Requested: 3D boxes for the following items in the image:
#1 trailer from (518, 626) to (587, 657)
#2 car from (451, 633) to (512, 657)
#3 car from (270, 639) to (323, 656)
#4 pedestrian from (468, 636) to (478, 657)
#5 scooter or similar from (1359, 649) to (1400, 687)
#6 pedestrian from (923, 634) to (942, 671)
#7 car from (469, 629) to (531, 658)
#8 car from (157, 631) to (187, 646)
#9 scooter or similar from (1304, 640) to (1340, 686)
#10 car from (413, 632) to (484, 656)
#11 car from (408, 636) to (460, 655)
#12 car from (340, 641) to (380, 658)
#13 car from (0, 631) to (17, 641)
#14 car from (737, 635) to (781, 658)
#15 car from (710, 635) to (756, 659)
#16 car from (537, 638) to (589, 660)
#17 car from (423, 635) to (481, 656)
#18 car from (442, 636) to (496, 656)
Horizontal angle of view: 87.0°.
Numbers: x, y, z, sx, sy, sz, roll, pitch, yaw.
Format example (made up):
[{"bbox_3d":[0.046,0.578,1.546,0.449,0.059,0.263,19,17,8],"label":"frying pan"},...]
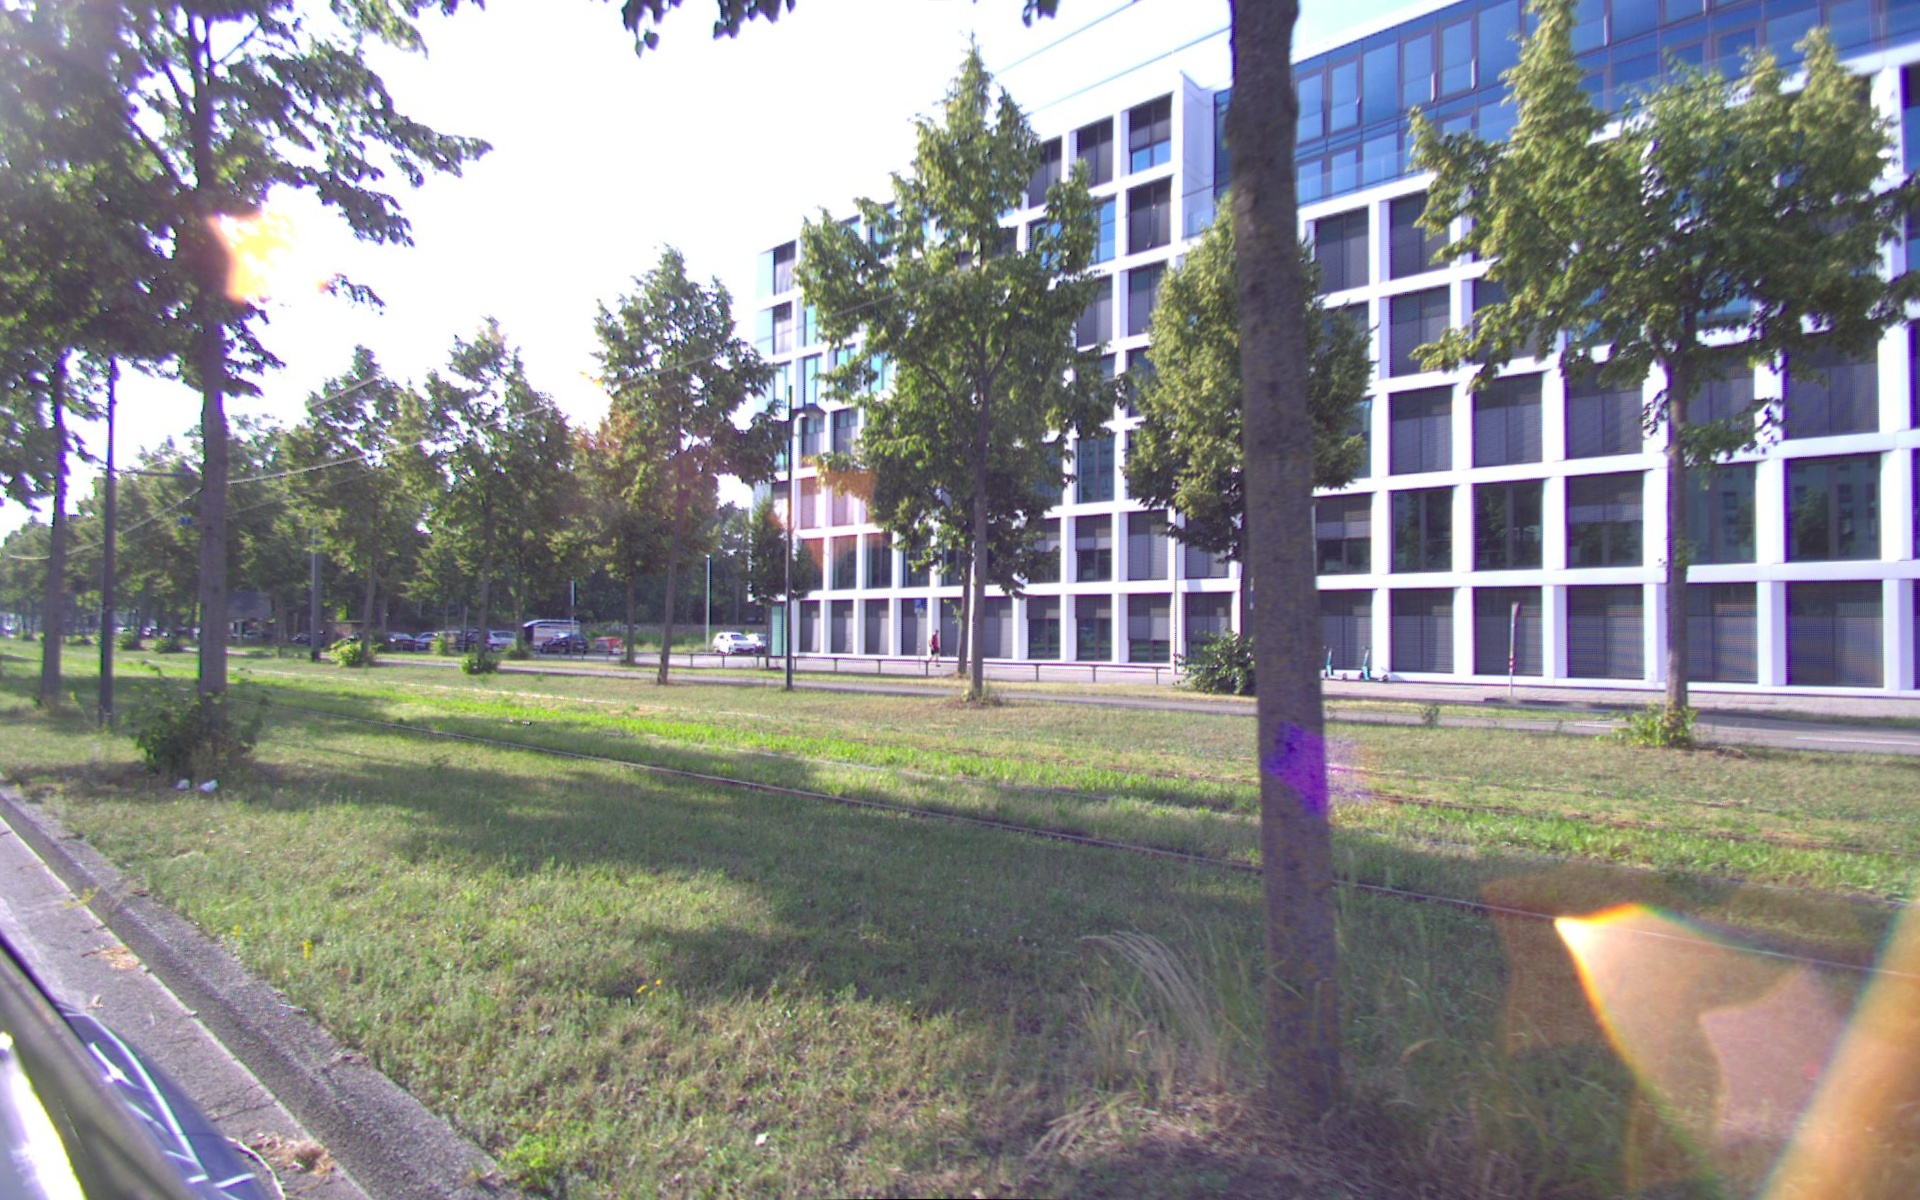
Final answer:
[{"bbox_3d":[-29.681,2.980,73.773,1.758,2.069,4.315,-1,0,44],"label":"trailer"},{"bbox_3d":[-37.125,3.469,78.547,1.757,1.655,3.950,-1,0,42],"label":"car"},{"bbox_3d":[-59.133,4.262,90.191,3.995,1.446,1.680,-1,0,13],"label":"car"},{"bbox_3d":[-36.367,3.460,75.563,0.568,1.491,0.516,-1,0,40],"label":"pedestrian"},{"bbox_3d":[14.317,2.302,34.579,0.331,1.235,1.302,-1,0,-35],"label":"scooter or similar"},{"bbox_3d":[-1.296,2.496,48.131,0.691,1.741,0.561,-1,0,41],"label":"pedestrian"},{"bbox_3d":[-34.792,3.267,76.619,1.757,1.962,3.950,-1,0,42],"label":"car"},{"bbox_3d":[-86.687,4.229,111.311,4.474,1.442,1.811,-1,0,42],"label":"car"},{"bbox_3d":[12.705,2.182,35.502,0.415,1.488,1.907,-1,0,45],"label":"scooter or similar"},{"bbox_3d":[-43.361,3.712,85.883,1.886,1.748,5.004,-1,0,43],"label":"car"},{"bbox_3d":[-45.610,3.914,87.832,1.810,1.439,3.607,-1,0,43],"label":"car"},{"bbox_3d":[-58.436,4.820,98.542,4.352,1.453,1.770,-1,0,36],"label":"car"},{"bbox_3d":[-157.603,5.953,167.476,4.811,1.487,1.664,-1,-4,42],"label":"car"},{"bbox_3d":[-15.143,3.449,76.166,1.662,1.569,4.009,-1,0,-37],"label":"car"},{"bbox_3d":[-16.840,3.468,75.013,1.824,1.608,4.008,-1,0,-38],"label":"car"},{"bbox_3d":[-27.592,3.365,70.259,3.757,1.404,1.663,-1,0,38],"label":"car"},{"bbox_3d":[-42.222,3.741,84.143,1.856,1.572,3.943,-1,0,43],"label":"car"},{"bbox_3d":[-39.390,3.661,81.286,1.725,1.436,3.530,-1,0,42],"label":"car"}]
